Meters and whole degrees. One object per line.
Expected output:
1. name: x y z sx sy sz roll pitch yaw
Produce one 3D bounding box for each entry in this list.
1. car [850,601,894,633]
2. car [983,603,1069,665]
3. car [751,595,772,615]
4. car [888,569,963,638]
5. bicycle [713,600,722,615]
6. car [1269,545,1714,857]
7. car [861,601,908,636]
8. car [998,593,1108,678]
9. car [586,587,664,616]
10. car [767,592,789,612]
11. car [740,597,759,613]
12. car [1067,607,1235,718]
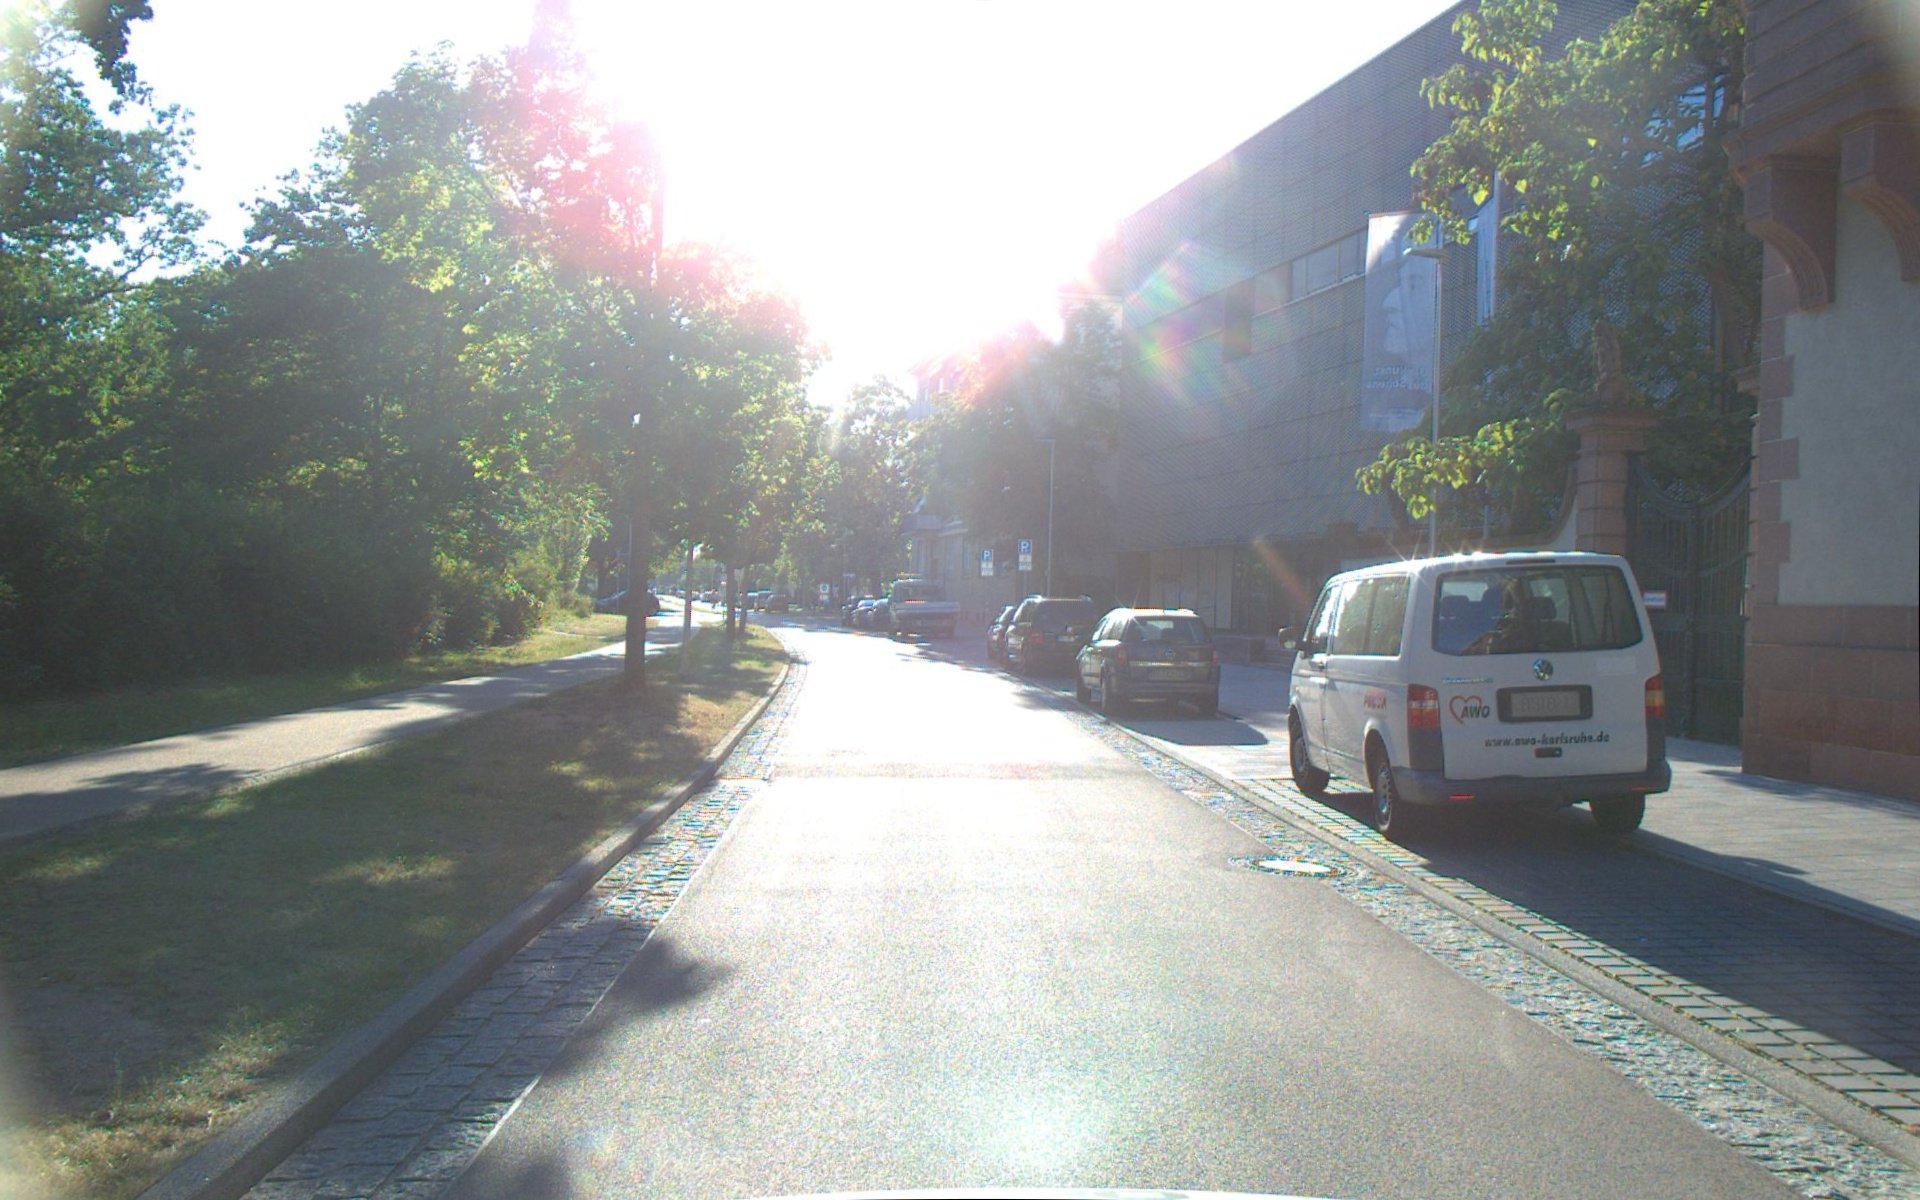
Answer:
1. car: -4.323 0.792 80.701 1.660 1.466 4.094 1 0 -10
2. car: 1.612 0.825 41.668 1.690 1.446 3.902 1 0 -5
3. car: -18.290 0.463 152.256 1.760 1.754 3.992 2 0 -9
4. car: -1.413 0.114 64.452 2.170 2.574 6.135 0 0 -9
5. bicycle: -21.296 0.692 145.298 0.675 1.223 2.340 2 1 -6
6. car: 3.944 0.656 13.281 1.953 2.000 4.849 -1 0 0
7. car: -3.470 0.823 75.318 1.660 1.466 3.542 1 0 -10
8. car: 1.938 0.714 35.715 1.691 1.698 4.108 1 0 -7
9. car: -19.002 0.088 93.810 3.956 1.445 1.749 3 0 -37
10. car: -15.250 0.145 138.579 1.759 1.536 3.995 2 0 -6
11. car: -21.315 0.474 167.227 1.760 1.536 3.992 2 0 -9
12. car: 2.813 0.884 25.329 1.713 1.492 4.473 -1 0 -5
